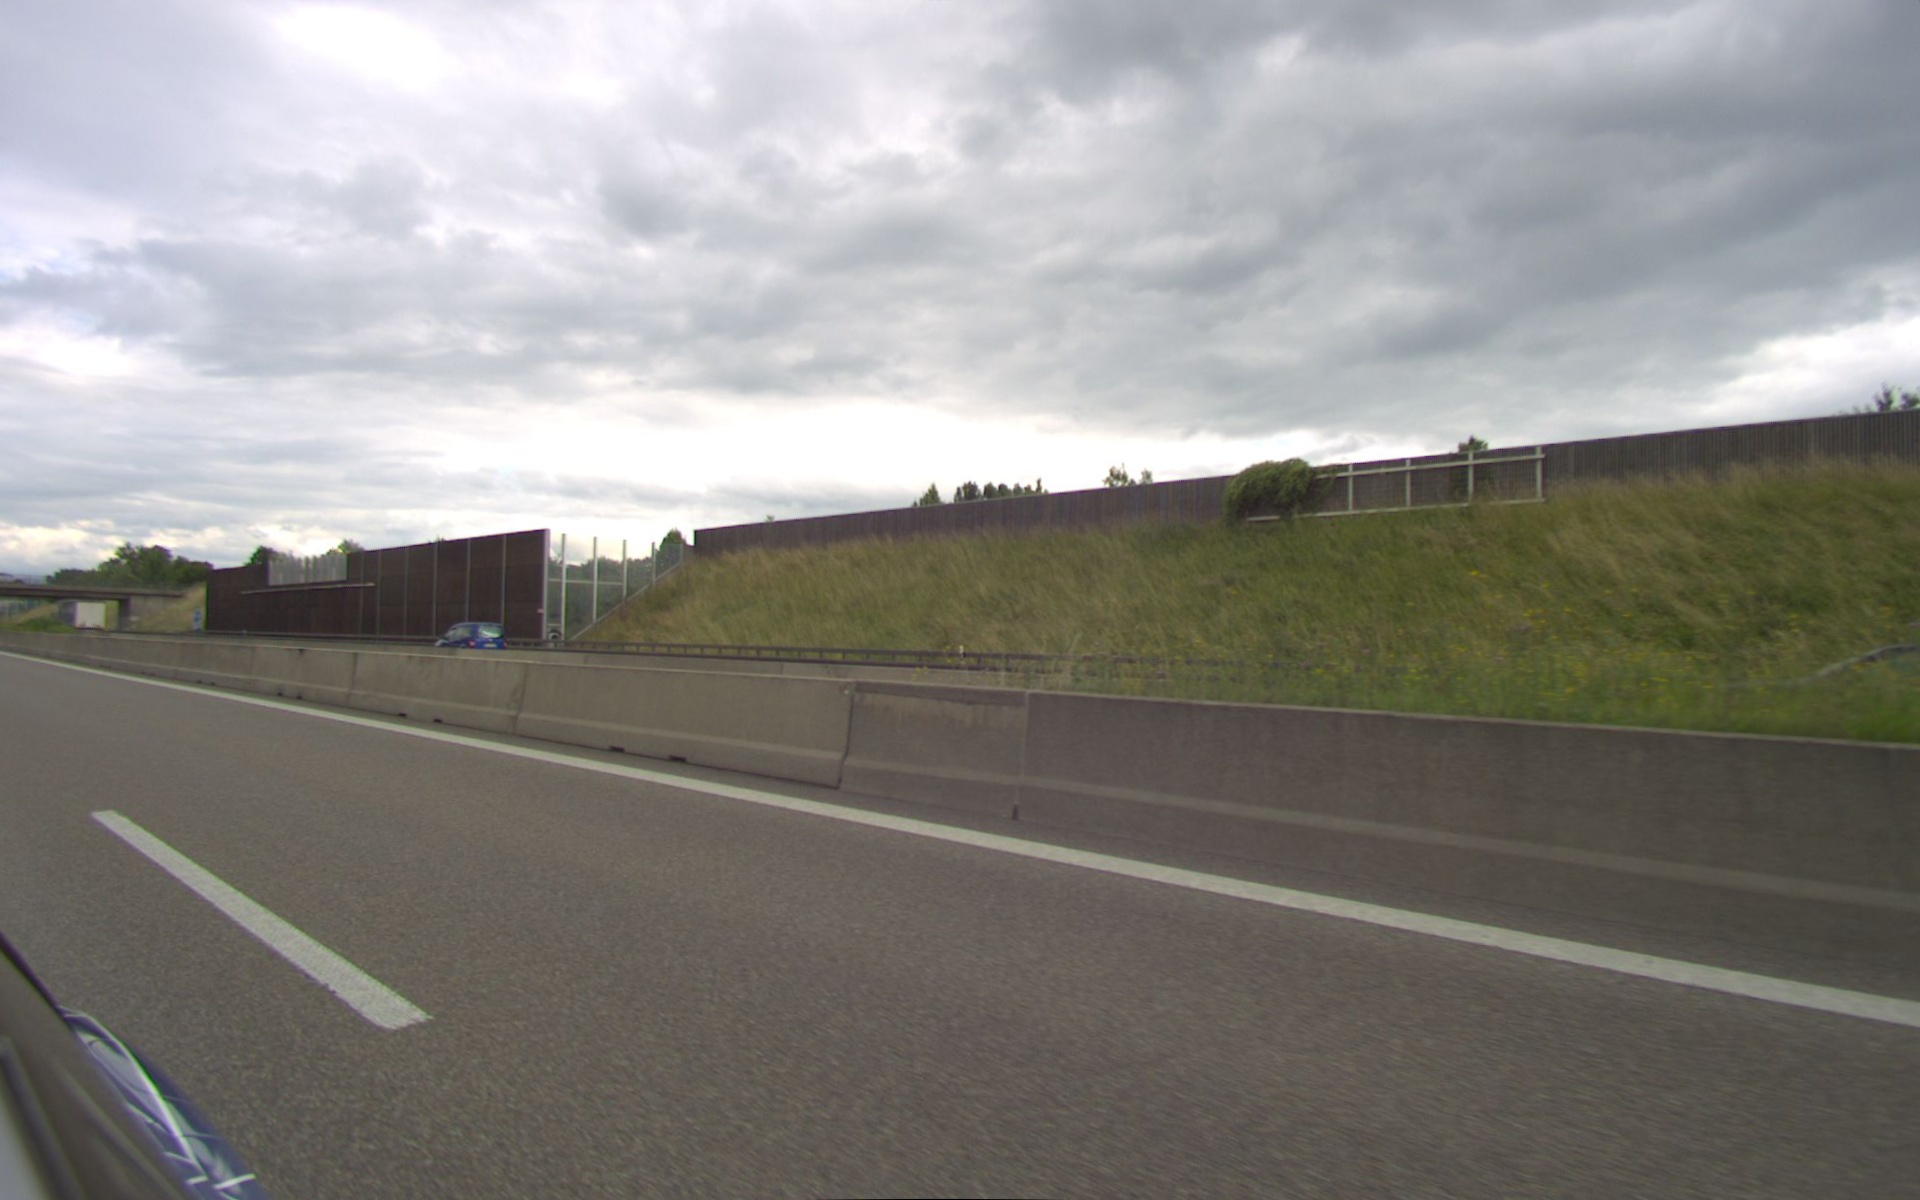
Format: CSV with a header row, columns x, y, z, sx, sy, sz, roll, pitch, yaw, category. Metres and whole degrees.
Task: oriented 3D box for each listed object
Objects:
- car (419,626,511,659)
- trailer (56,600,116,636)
x,y,z,sx,sy,sz,roll,pitch,yaw,category
-22.348,1.875,45.638,4.938,1.374,1.973,-1,0,41,car
-101.284,2.075,117.212,12.674,4.010,3.633,-1,0,42,trailer
